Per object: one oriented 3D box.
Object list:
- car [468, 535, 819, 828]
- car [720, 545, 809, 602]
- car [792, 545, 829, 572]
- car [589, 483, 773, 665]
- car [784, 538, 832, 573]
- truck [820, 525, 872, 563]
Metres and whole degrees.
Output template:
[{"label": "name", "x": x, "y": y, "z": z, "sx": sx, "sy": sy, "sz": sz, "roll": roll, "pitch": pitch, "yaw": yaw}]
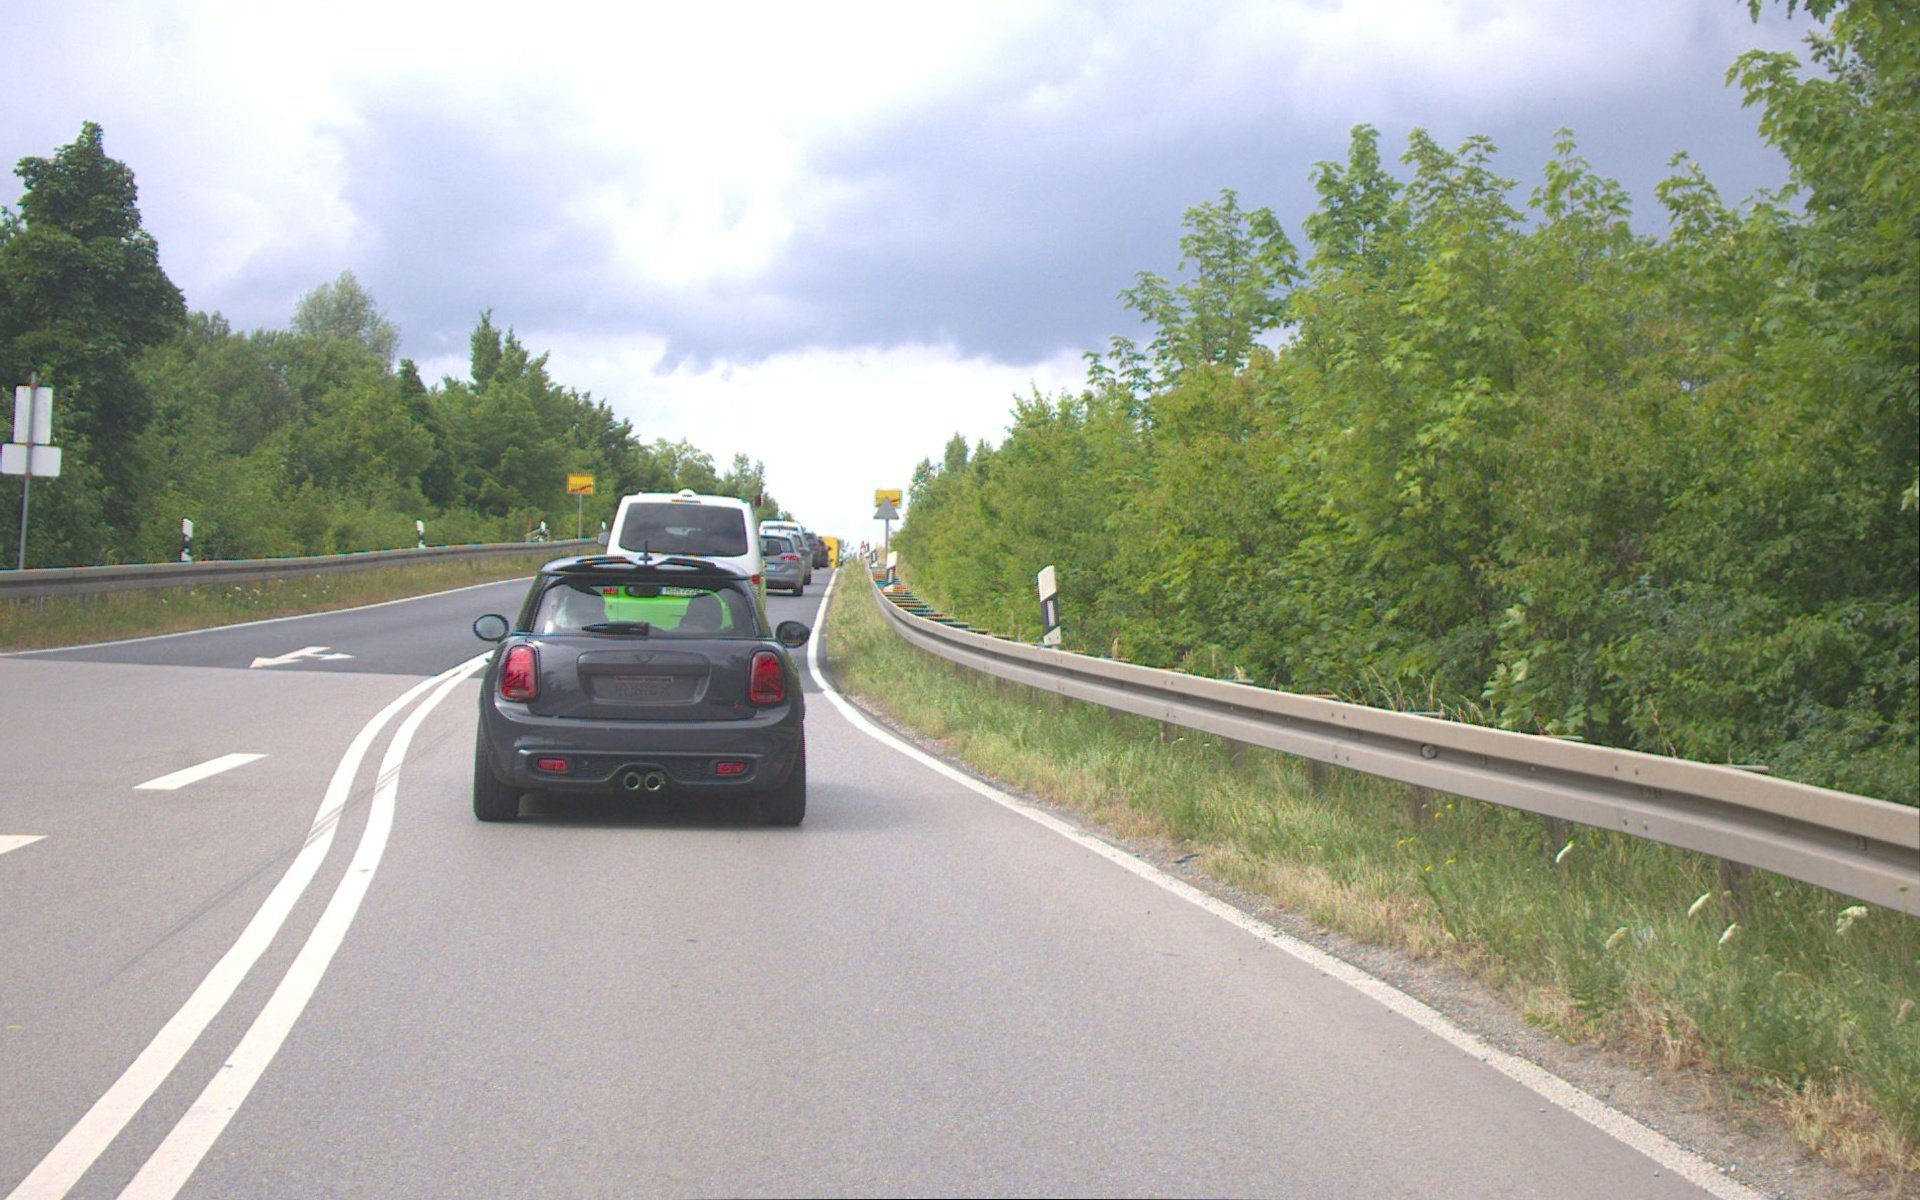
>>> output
[{"label": "car", "x": -1.885, "y": 0.381, "z": 19.432, "sx": 1.731, "sy": 1.451, "sz": 4.001, "roll": 1, "pitch": 1, "yaw": -8}, {"label": "car", "x": -4.430, "y": -0.616, "z": 78.356, "sx": 1.694, "sy": 1.218, "sz": 4.000, "roll": 1, "pitch": 1, "yaw": 1}, {"label": "car", "x": -7.689, "y": -2.164, "z": 177.262, "sx": 1.694, "sy": 1.315, "sz": 4.000, "roll": 1, "pitch": 1, "yaw": 0}, {"label": "car", "x": -3.303, "y": -0.336, "z": 40.486, "sx": 2.022, "sy": 2.006, "sz": 4.001, "roll": 1, "pitch": 1, "yaw": -5}, {"label": "car", "x": -5.927, "y": -1.746, "z": 134.372, "sx": 1.694, "sy": 1.315, "sz": 4.000, "roll": 1, "pitch": 1, "yaw": 0}, {"label": "truck", "x": -7.185, "y": -3.575, "z": 217.808, "sx": 2.910, "sy": 2.364, "sz": 10.452, "roll": 0, "pitch": 1, "yaw": 0}]
